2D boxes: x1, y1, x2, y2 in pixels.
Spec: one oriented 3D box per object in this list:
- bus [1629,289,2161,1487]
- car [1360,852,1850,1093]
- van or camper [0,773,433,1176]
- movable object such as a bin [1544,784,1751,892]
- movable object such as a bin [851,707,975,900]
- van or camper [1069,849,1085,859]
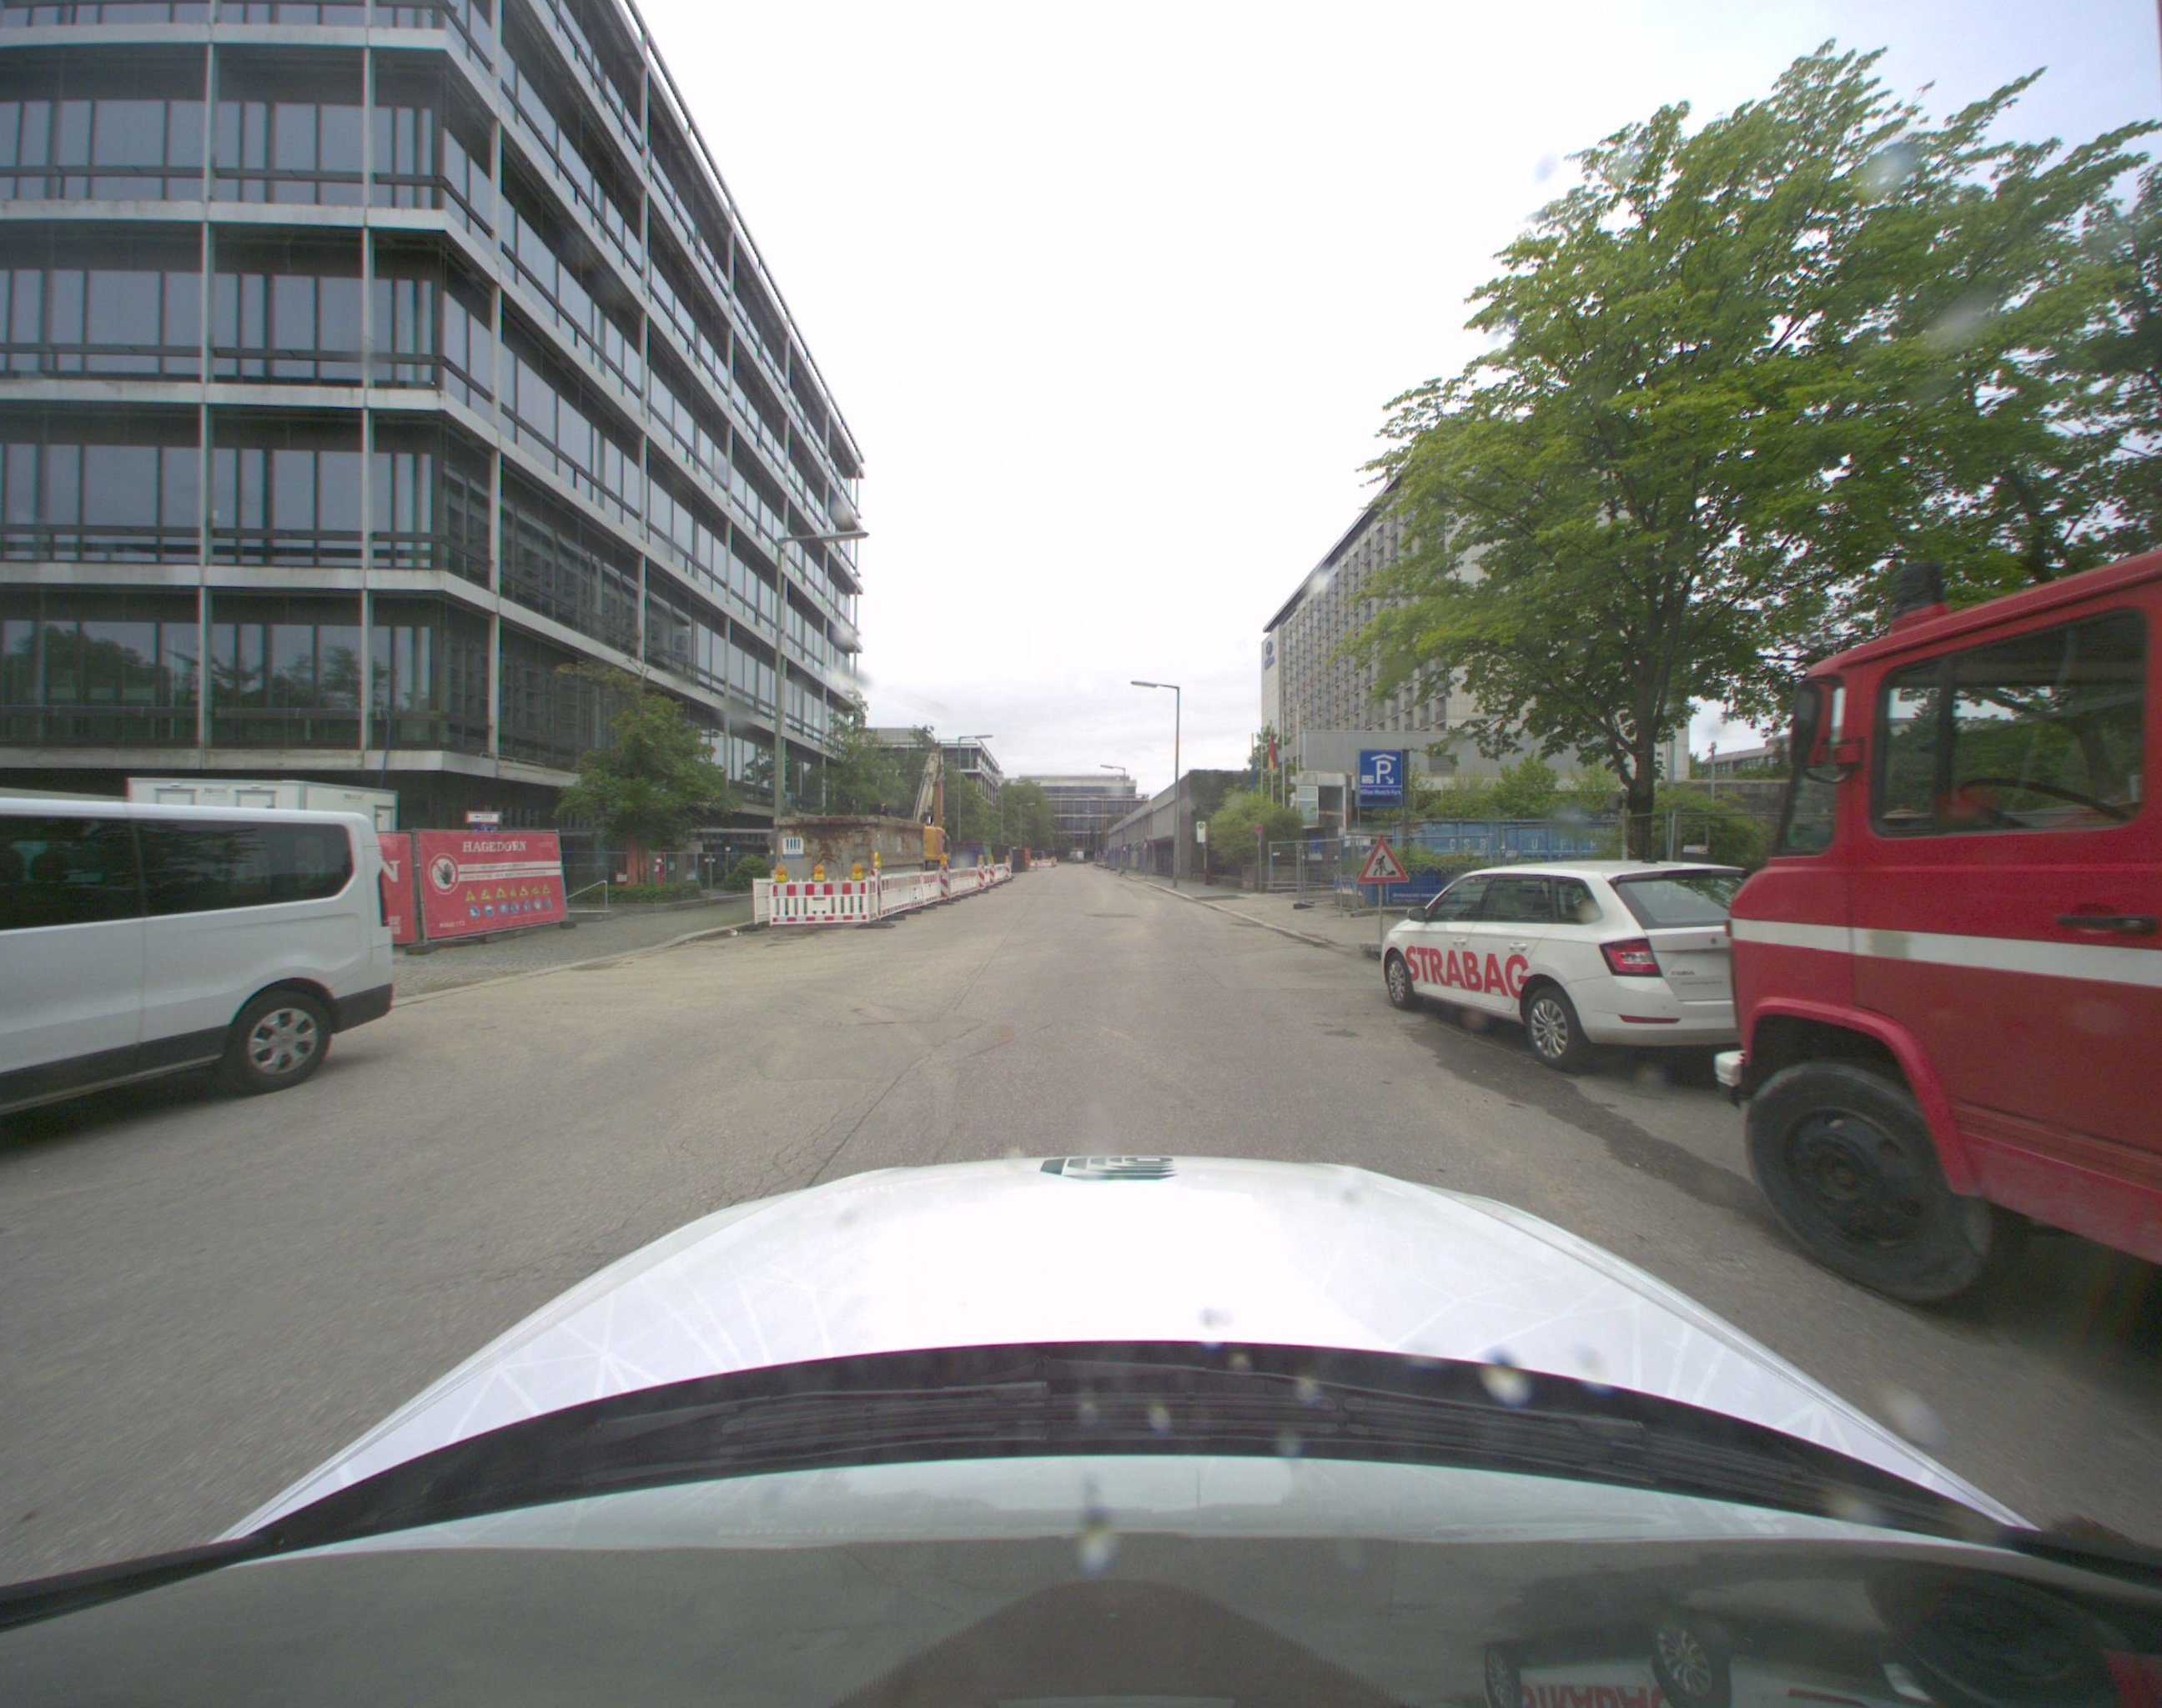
[{"bbox_3d":[3.487,0.077,0.757,2.063,2.805,6.278,-1,0,4],"label":"bus"},{"bbox_3d":[4.018,0.774,7.171,1.528,1.492,4.056,0,-1,-3],"label":"car"},{"bbox_3d":[-6.470,0.636,3.916,1.981,2.034,5.591,-2,0,3],"label":"van or camper"},{"bbox_3d":[21.878,-0.601,31.446,7.198,3.683,3.854,-1,0,-30],"label":"movable object such as a bin"},{"bbox_3d":[-6.505,-1.689,33.704,2.896,6.564,11.776,0,-1,-1],"label":"movable object such as a bin"},{"bbox_3d":[-0.916,-0.105,206.962,2.096,2.492,5.023,0,0,-26],"label":"van or camper"}]
